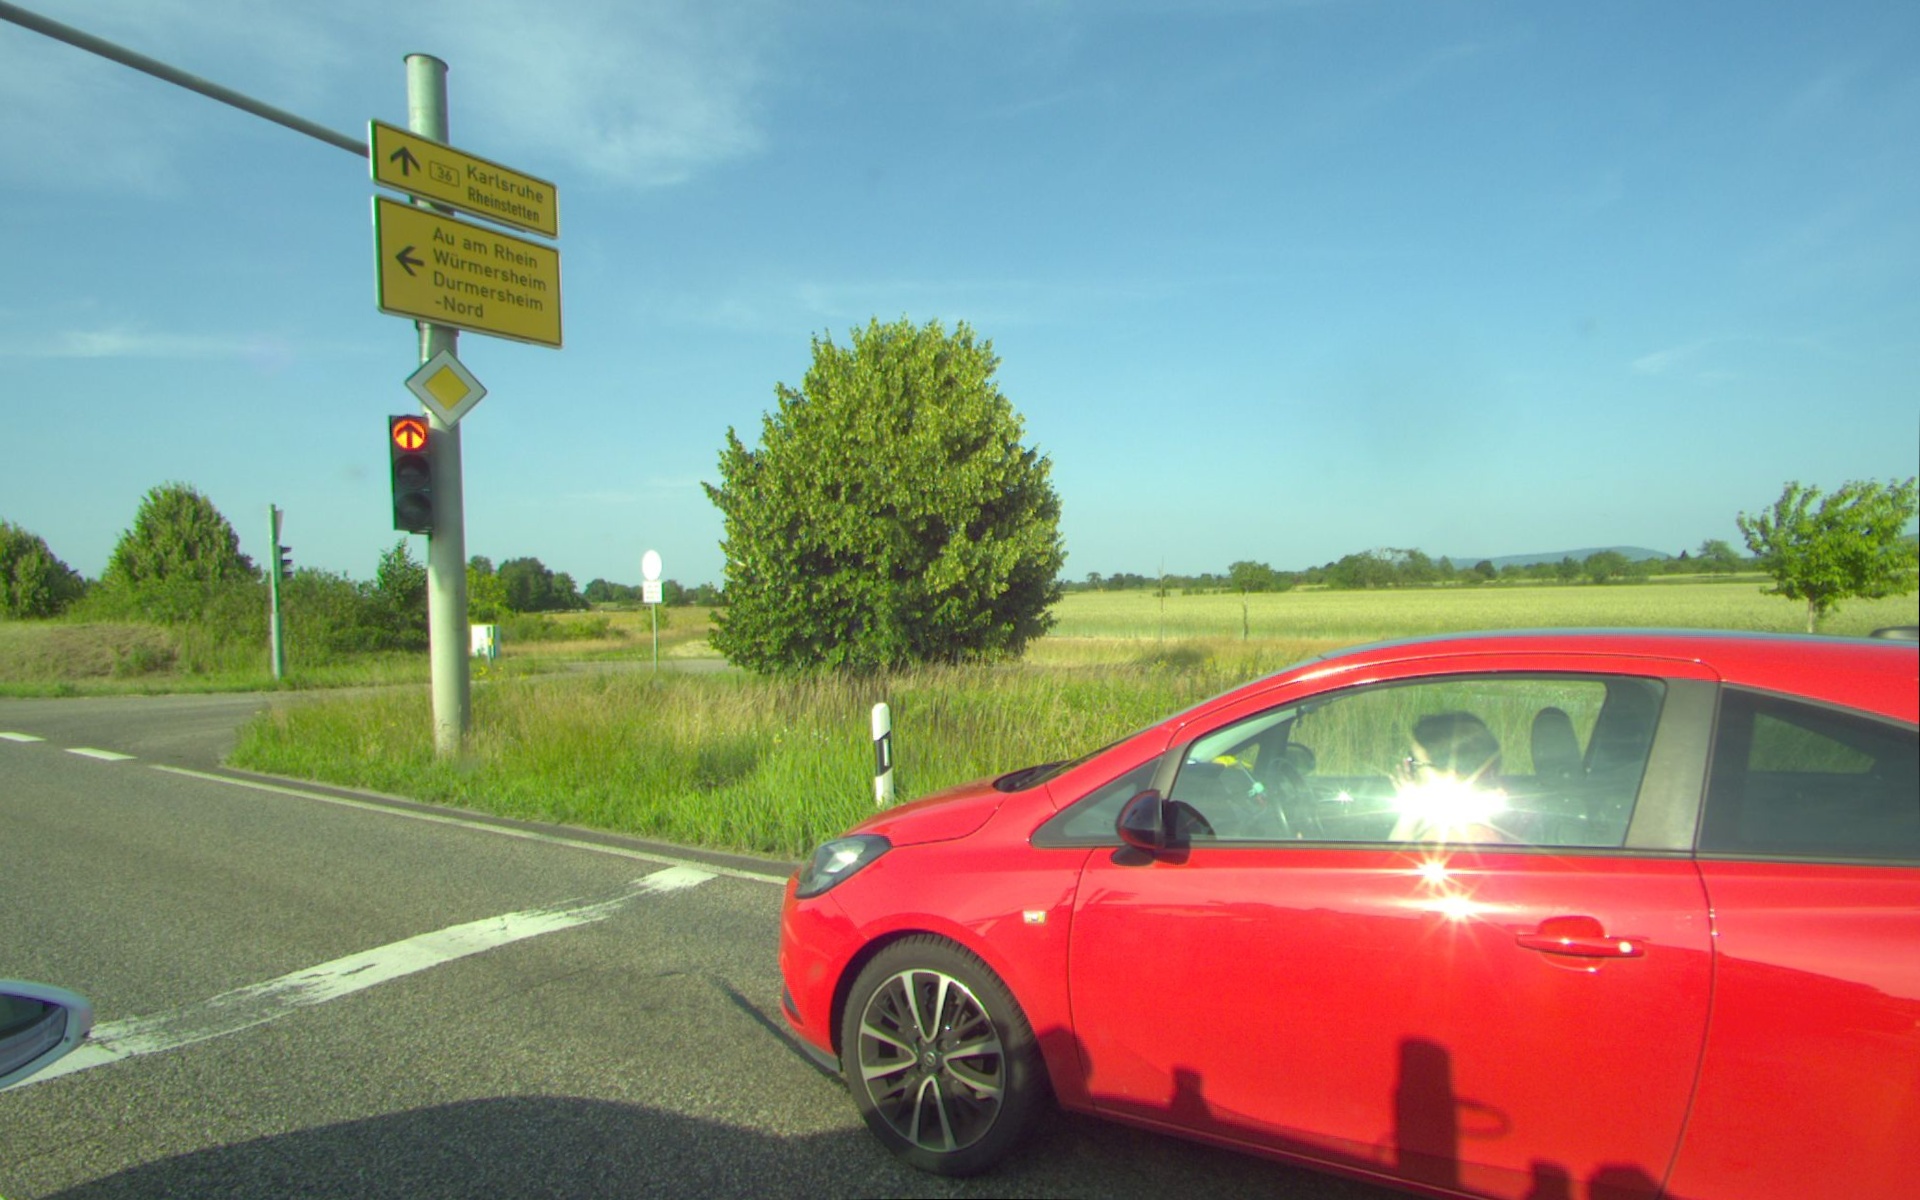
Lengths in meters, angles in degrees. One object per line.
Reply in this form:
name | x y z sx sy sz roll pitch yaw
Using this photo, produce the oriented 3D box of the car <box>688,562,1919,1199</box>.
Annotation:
car | 1.192 0.735 2.909 3.693 1.569 1.695 -1 0 29
